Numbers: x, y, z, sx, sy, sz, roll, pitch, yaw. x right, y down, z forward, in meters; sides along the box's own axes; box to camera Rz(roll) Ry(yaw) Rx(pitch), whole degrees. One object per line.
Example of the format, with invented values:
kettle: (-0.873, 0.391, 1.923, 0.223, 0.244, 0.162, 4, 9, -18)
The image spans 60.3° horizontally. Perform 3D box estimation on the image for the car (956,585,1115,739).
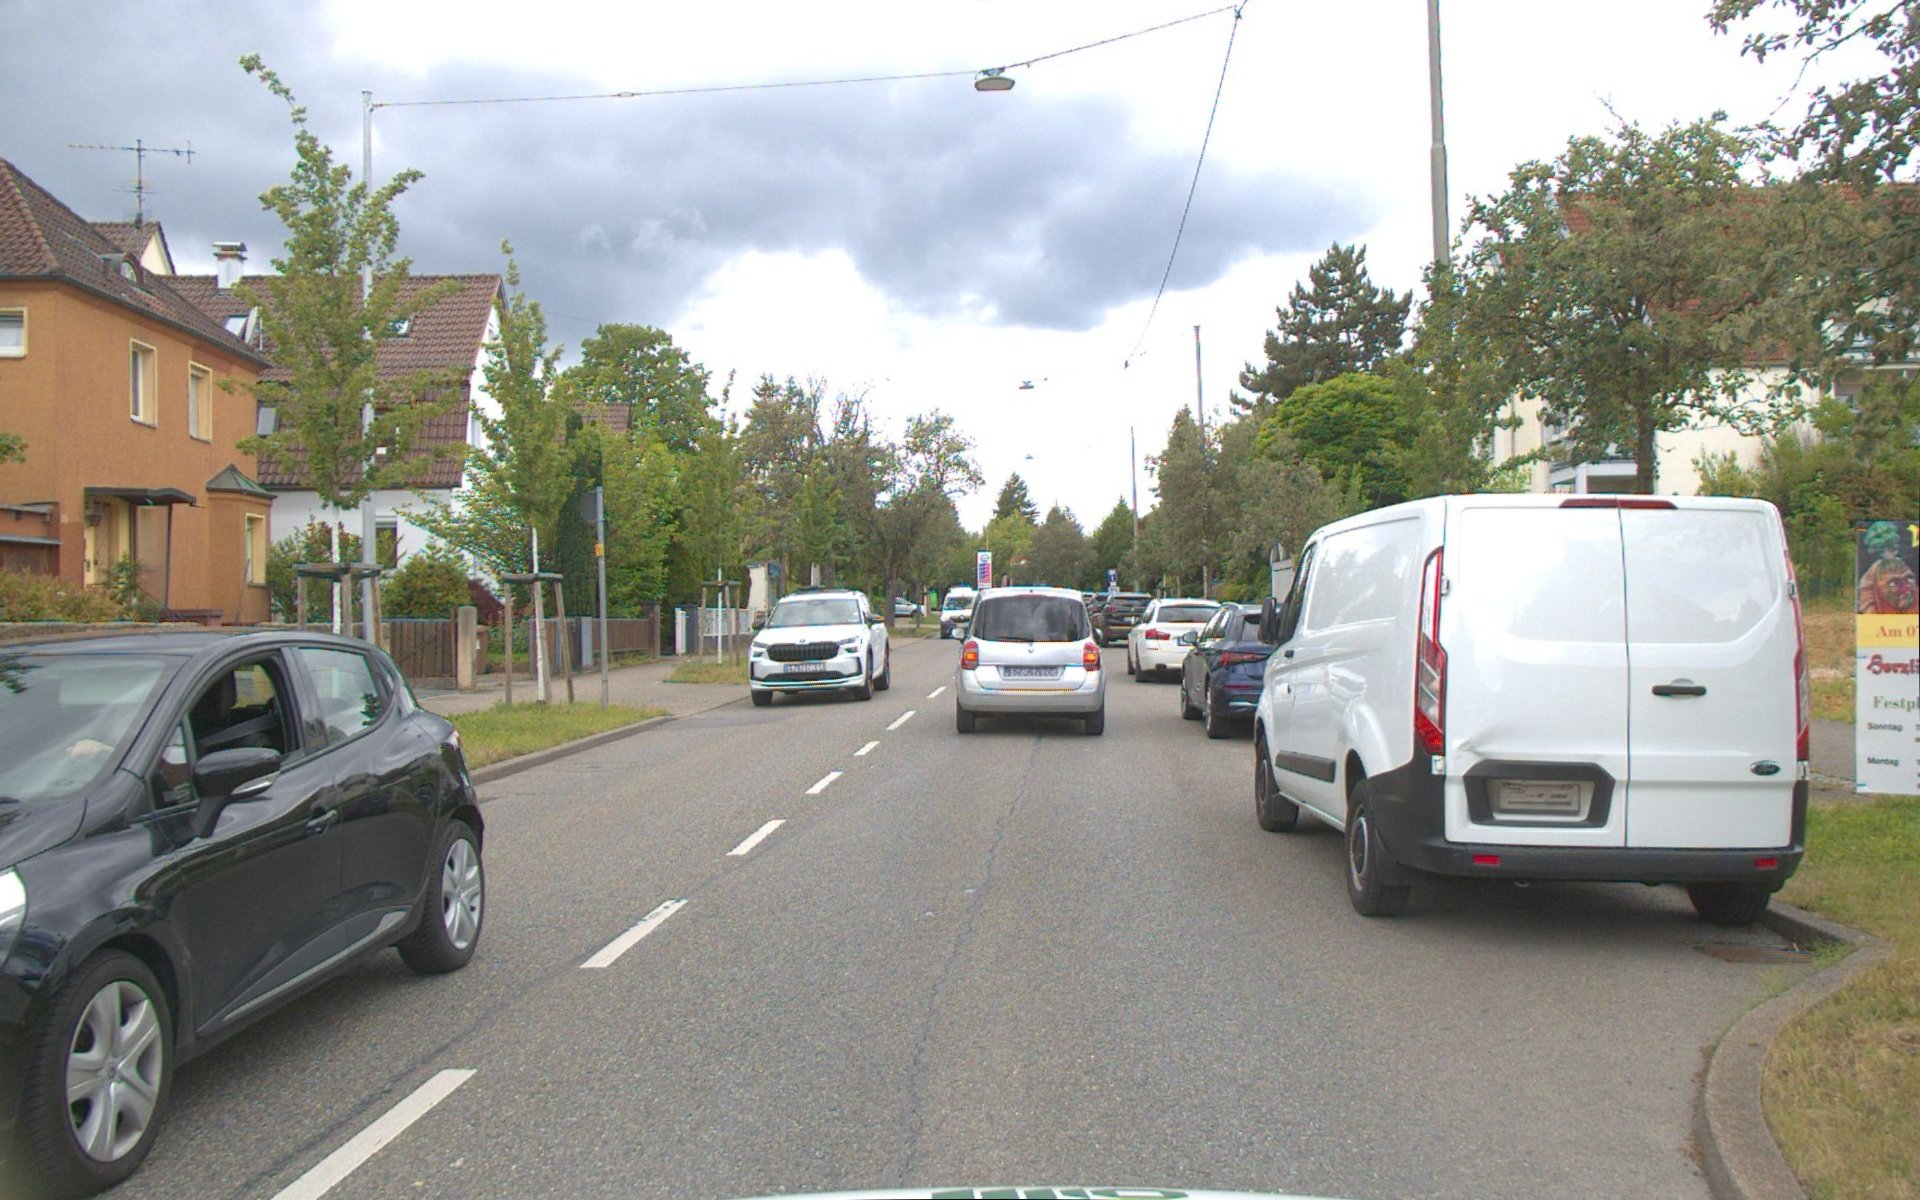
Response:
car: (0.875, 0.655, 19.113, 1.644, 1.587, 3.513, 1, 0, 3)

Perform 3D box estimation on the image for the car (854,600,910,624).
car: (-5.829, 0.885, 123.717, 4.011, 1.736, 1.743, 0, 0, -10)

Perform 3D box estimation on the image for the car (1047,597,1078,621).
car: (6.660, 0.574, 107.577, 1.594, 1.477, 3.874, 0, 0, -3)

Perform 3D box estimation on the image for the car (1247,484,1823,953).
car: (2.844, 0.492, 9.389, 1.738, 1.977, 4.790, 0, 0, 2)

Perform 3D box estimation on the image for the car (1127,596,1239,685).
car: (4.028, 0.686, 30.407, 1.658, 1.479, 4.406, 1, 0, 3)

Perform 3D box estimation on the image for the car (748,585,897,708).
car: (-2.091, 0.681, 26.330, 1.776, 1.722, 4.467, -2, 0, 2)

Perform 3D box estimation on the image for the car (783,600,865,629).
car: (-7.074, 0.750, 86.110, 4.194, 1.392, 1.815, 1, -1, -4)

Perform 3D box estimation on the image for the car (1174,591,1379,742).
car: (3.506, 0.670, 18.981, 1.631, 1.542, 4.221, 0, 0, 1)

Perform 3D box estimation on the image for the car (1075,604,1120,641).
car: (5.015, 0.805, 60.630, 1.450, 1.257, 3.885, 1, 0, 2)

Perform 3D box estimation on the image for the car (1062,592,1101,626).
car: (6.747, 0.482, 92.360, 1.762, 1.809, 4.704, 0, 0, -1)

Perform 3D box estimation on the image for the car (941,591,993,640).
car: (0.296, 0.578, 64.958, 1.758, 1.782, 4.300, -2, 0, 3)

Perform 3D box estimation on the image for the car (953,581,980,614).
car: (0.549, -0.179, 139.129, 2.030, 2.627, 5.301, -3, 0, 2)

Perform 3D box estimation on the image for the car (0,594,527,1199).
car: (-2.879, 0.777, 5.472, 1.582, 1.497, 4.002, -3, 0, 3)

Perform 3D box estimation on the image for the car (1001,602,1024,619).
car: (4.914, 0.954, 154.454, 1.662, 1.532, 3.968, -1, 0, -6)

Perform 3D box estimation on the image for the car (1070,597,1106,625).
car: (6.784, 0.568, 87.782, 1.526, 1.468, 3.506, 0, 0, -1)

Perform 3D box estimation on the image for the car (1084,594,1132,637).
car: (6.125, 0.628, 68.760, 1.792, 1.742, 4.551, 0, 0, 3)

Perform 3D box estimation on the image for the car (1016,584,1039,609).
car: (8.144, -0.361, 199.898, 2.236, 2.962, 5.276, 1, 0, -3)

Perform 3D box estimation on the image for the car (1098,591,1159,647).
car: (5.119, 0.547, 50.525, 1.652, 1.637, 4.111, 0, 0, 3)
